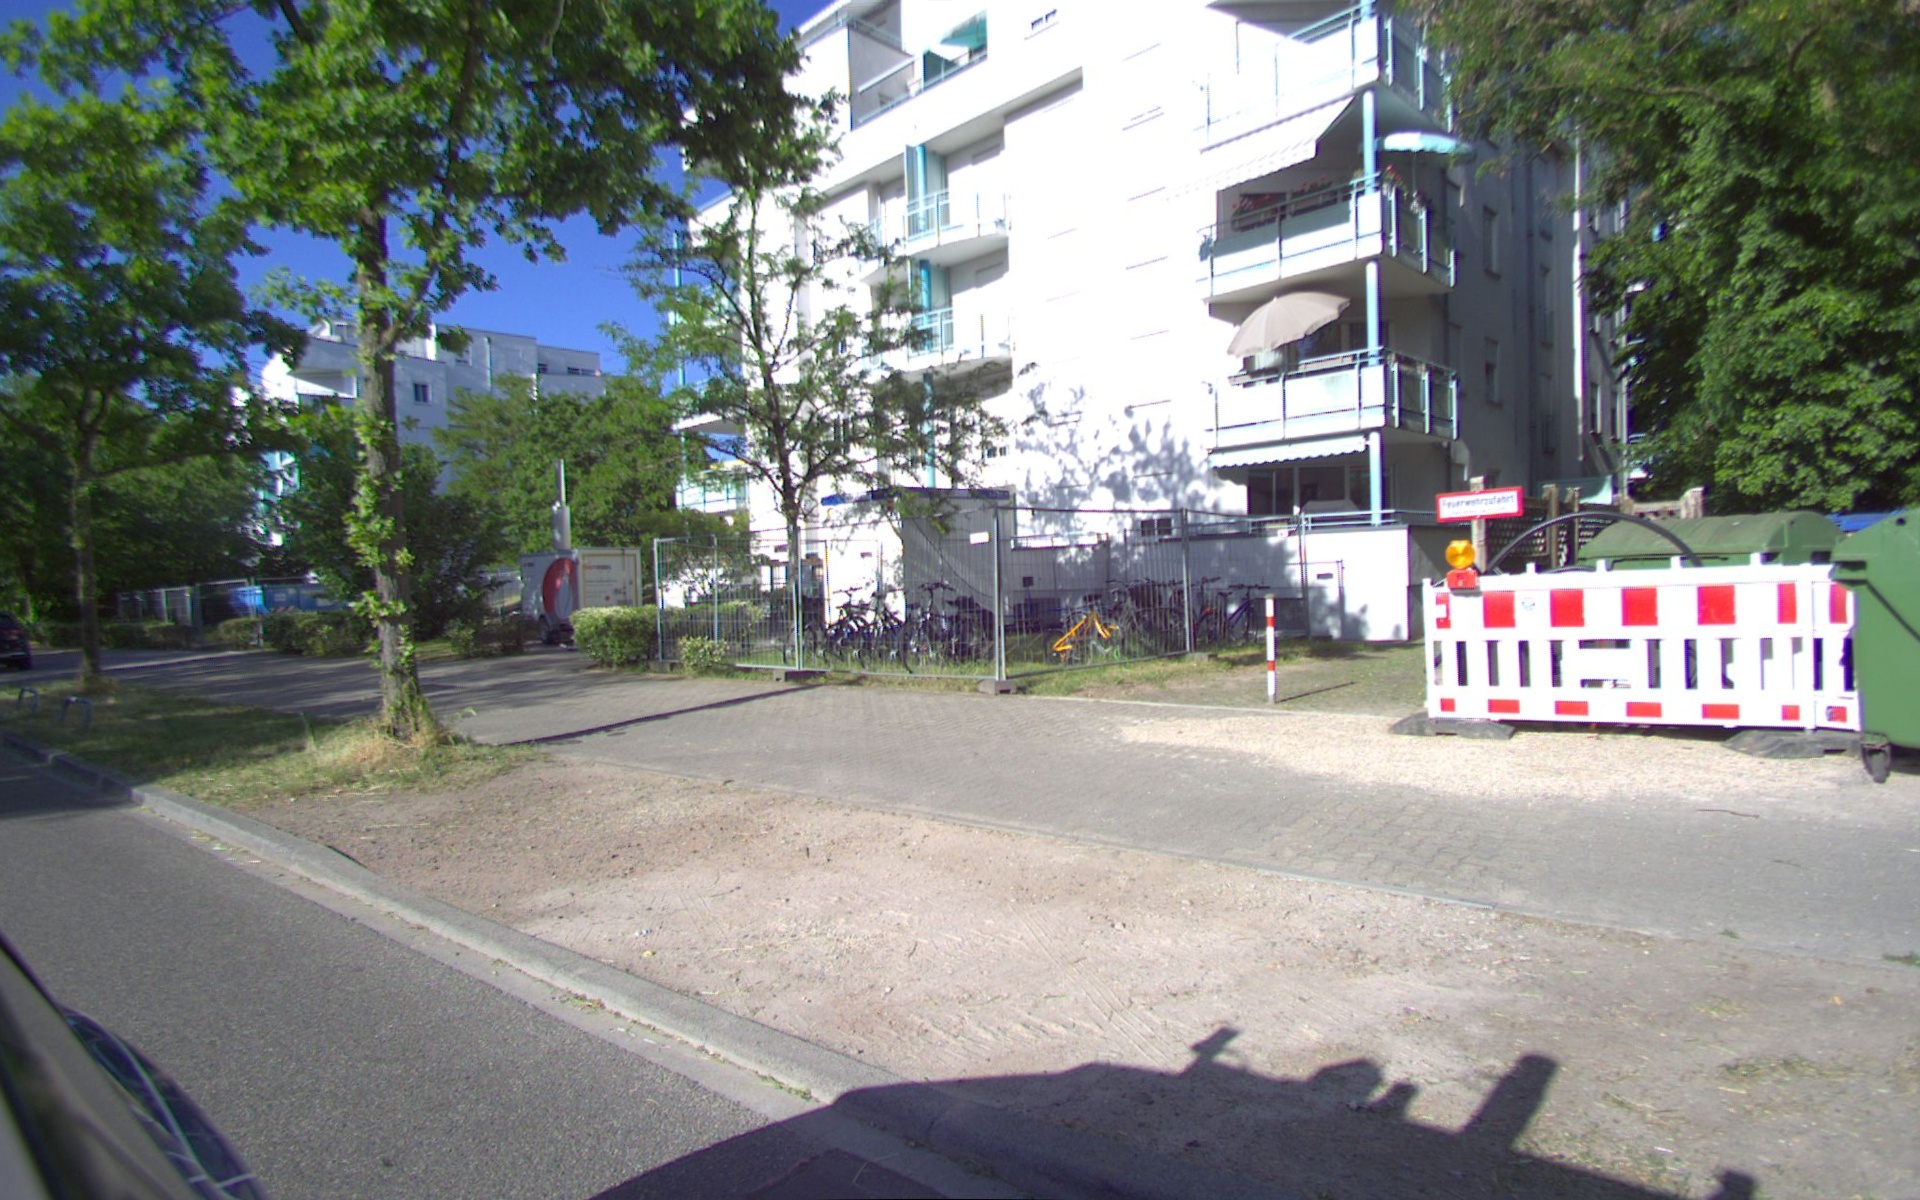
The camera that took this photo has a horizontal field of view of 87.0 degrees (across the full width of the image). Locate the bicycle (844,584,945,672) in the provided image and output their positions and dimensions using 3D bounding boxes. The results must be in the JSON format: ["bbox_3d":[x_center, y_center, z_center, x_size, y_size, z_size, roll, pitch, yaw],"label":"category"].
[{"bbox_3d":[-0.824,0.333,13.317,0.398,1.034,1.848,-1,2,27],"label":"bicycle"}]

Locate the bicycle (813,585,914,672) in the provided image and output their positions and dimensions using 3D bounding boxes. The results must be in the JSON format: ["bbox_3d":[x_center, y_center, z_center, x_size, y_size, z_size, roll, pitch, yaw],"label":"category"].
[{"bbox_3d":[-1.252,0.342,13.540,0.398,1.034,1.827,-1,2,27],"label":"bicycle"}]

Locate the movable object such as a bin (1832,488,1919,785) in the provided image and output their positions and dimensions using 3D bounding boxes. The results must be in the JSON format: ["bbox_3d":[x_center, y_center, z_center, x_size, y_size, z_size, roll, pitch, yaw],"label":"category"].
[{"bbox_3d":[5.345,0.149,5.047,1.252,1.446,1.184,-3,1,-34],"label":"movable object such as a bin"}]

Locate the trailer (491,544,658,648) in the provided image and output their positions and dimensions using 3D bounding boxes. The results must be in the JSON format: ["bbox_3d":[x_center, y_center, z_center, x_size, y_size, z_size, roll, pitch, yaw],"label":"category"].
[{"bbox_3d":[-9.084,-0.089,23.650,4.347,2.135,1.844,-1,3,44],"label":"trailer"}]

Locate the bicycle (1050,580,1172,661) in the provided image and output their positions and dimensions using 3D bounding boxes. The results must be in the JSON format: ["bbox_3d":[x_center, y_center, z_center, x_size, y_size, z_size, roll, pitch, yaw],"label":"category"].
[{"bbox_3d":[2.043,0.265,13.840,1.700,1.034,0.395,0,2,43],"label":"bicycle"}]

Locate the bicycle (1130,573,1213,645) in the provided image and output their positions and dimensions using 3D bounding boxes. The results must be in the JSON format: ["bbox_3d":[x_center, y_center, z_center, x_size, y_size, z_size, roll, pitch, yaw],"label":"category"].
[{"bbox_3d":[3.381,0.123,16.064,1.675,1.034,0.401,-4,2,-44],"label":"bicycle"}]

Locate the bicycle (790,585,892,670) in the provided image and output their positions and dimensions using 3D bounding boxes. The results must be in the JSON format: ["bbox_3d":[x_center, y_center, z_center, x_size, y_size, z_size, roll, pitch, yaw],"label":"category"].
[{"bbox_3d":[-1.594,0.346,13.869,0.398,1.034,1.844,-1,2,27],"label":"bicycle"}]

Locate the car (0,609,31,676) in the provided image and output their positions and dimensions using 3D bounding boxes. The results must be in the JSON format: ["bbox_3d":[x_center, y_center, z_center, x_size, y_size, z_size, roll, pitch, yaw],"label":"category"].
[{"bbox_3d":[-25.615,1.146,26.150,4.217,1.633,1.758,-2,3,40],"label":"car"}]

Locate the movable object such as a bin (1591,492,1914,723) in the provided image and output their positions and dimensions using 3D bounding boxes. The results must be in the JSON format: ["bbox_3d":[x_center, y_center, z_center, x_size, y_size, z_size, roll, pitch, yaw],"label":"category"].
[{"bbox_3d":[5.597,0.025,7.228,1.251,1.446,1.330,-3,1,-22],"label":"movable object such as a bin"}]

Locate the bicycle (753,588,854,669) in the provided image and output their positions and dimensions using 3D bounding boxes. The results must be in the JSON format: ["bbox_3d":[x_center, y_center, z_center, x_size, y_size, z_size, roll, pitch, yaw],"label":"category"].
[{"bbox_3d":[-2.221,0.374,14.584,0.398,1.034,1.858,-1,2,27],"label":"bicycle"}]

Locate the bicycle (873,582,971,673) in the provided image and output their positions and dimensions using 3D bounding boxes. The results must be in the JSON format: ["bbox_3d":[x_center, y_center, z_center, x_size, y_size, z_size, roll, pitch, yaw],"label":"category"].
[{"bbox_3d":[-0.457,0.321,13.098,0.398,1.034,1.827,-1,2,27],"label":"bicycle"}]

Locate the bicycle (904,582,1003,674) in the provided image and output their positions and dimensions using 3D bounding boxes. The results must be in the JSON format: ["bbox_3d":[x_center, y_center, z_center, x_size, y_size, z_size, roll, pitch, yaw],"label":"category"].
[{"bbox_3d":[-0.043,0.313,12.869,0.398,1.034,1.903,-1,2,27],"label":"bicycle"}]

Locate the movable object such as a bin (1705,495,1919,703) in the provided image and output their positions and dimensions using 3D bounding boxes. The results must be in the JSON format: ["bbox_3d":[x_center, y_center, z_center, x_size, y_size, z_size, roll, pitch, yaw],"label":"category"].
[{"bbox_3d":[6.854,-0.030,7.880,1.141,1.446,1.268,-3,1,-25],"label":"movable object such as a bin"}]

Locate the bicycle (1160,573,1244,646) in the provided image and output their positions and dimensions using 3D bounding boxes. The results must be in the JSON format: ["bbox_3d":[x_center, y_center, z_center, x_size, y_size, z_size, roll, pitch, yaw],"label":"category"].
[{"bbox_3d":[3.764,0.130,15.659,1.675,1.034,0.401,-4,2,-44],"label":"bicycle"}]

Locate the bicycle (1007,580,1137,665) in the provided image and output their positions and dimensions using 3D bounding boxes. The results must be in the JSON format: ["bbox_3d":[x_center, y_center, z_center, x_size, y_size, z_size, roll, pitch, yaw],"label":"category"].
[{"bbox_3d":[1.418,0.280,13.043,1.699,1.034,0.395,-1,2,40],"label":"bicycle"}]

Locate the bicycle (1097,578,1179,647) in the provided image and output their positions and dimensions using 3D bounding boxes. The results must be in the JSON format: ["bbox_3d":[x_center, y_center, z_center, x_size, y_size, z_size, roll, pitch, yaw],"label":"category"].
[{"bbox_3d":[2.940,0.180,16.587,1.675,1.034,0.401,-4,2,-44],"label":"bicycle"}]
